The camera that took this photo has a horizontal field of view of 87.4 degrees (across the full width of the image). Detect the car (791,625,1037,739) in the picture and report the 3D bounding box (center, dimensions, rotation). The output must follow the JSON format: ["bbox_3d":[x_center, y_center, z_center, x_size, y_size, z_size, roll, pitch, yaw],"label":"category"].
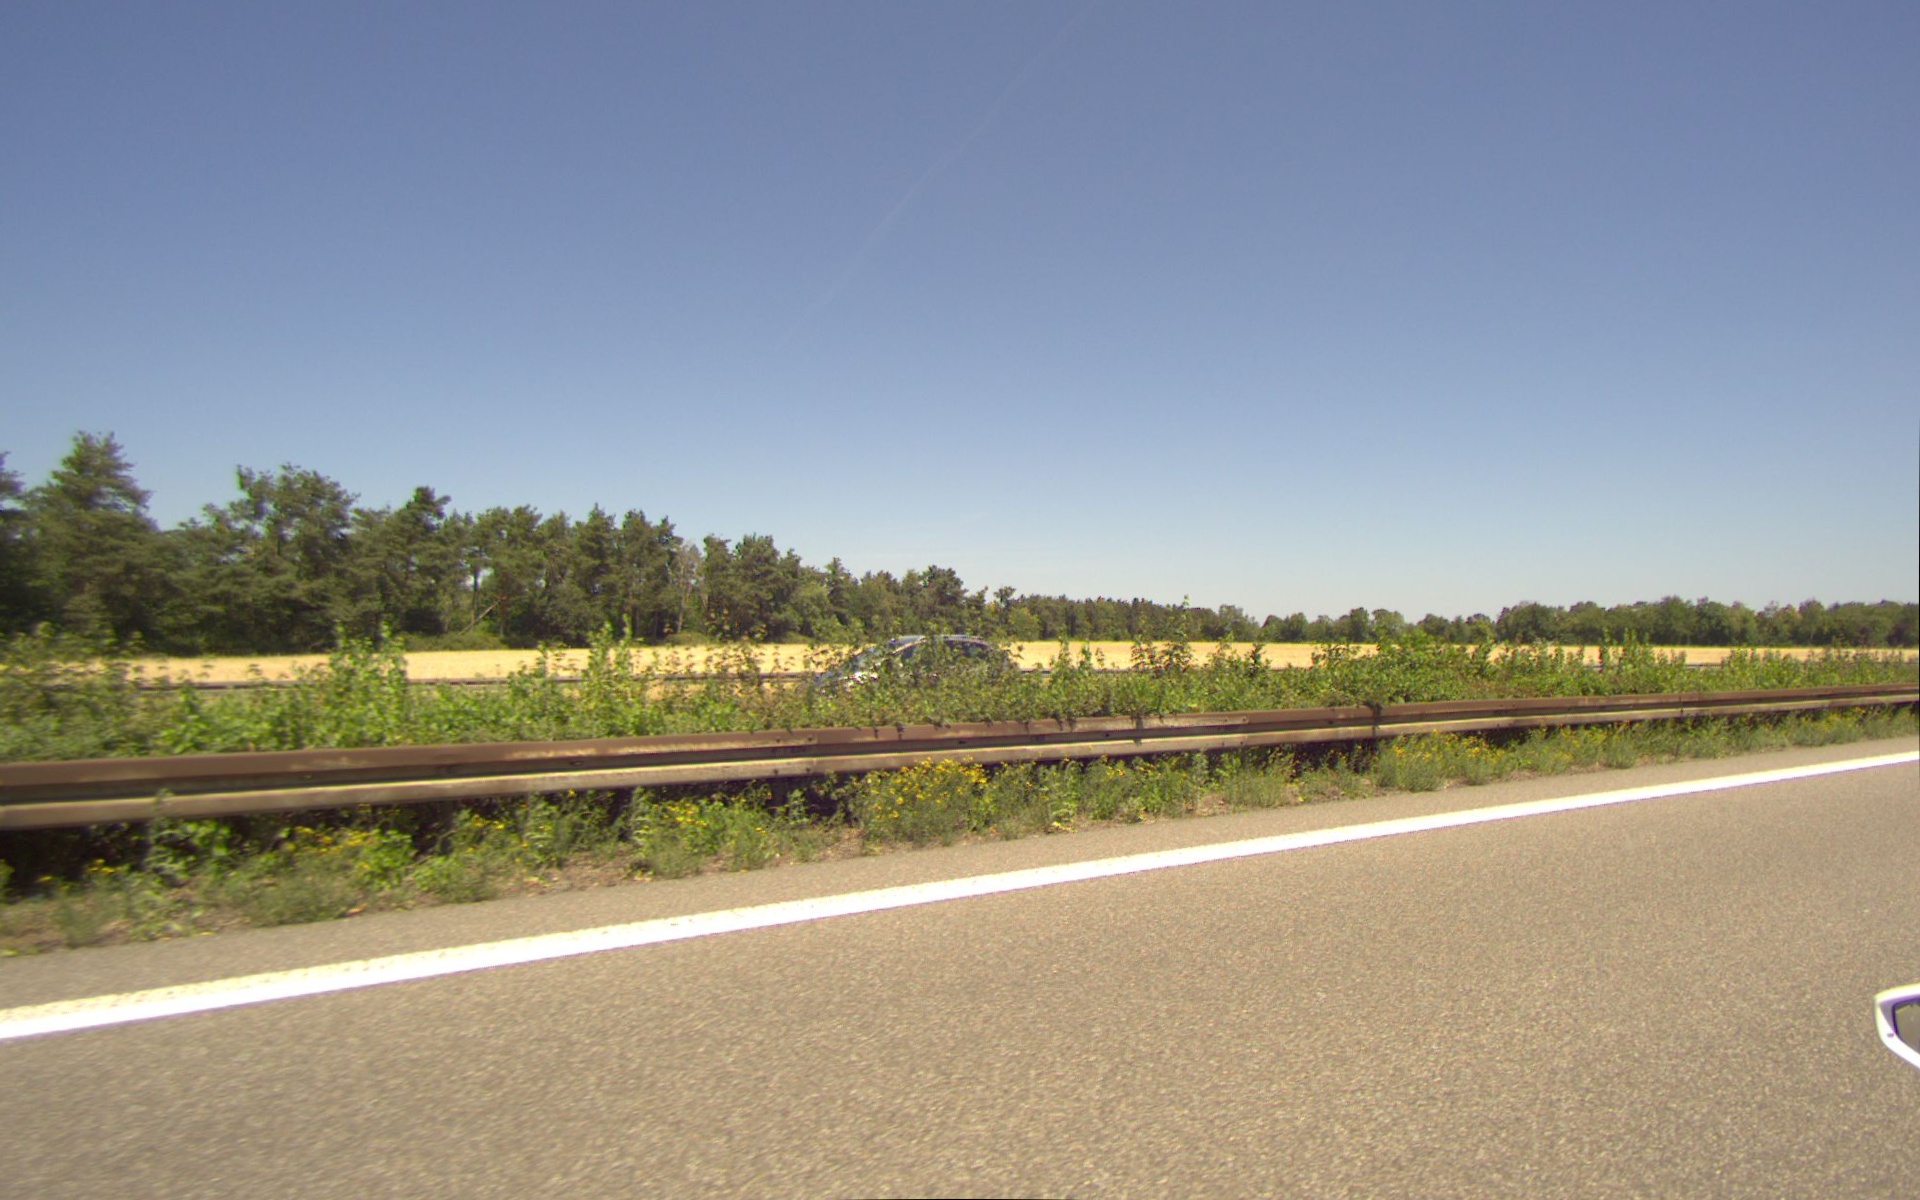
[{"bbox_3d":[-0.790,1.374,17.732,3.953,1.801,1.866,2,-2,-30],"label":"car"}]
